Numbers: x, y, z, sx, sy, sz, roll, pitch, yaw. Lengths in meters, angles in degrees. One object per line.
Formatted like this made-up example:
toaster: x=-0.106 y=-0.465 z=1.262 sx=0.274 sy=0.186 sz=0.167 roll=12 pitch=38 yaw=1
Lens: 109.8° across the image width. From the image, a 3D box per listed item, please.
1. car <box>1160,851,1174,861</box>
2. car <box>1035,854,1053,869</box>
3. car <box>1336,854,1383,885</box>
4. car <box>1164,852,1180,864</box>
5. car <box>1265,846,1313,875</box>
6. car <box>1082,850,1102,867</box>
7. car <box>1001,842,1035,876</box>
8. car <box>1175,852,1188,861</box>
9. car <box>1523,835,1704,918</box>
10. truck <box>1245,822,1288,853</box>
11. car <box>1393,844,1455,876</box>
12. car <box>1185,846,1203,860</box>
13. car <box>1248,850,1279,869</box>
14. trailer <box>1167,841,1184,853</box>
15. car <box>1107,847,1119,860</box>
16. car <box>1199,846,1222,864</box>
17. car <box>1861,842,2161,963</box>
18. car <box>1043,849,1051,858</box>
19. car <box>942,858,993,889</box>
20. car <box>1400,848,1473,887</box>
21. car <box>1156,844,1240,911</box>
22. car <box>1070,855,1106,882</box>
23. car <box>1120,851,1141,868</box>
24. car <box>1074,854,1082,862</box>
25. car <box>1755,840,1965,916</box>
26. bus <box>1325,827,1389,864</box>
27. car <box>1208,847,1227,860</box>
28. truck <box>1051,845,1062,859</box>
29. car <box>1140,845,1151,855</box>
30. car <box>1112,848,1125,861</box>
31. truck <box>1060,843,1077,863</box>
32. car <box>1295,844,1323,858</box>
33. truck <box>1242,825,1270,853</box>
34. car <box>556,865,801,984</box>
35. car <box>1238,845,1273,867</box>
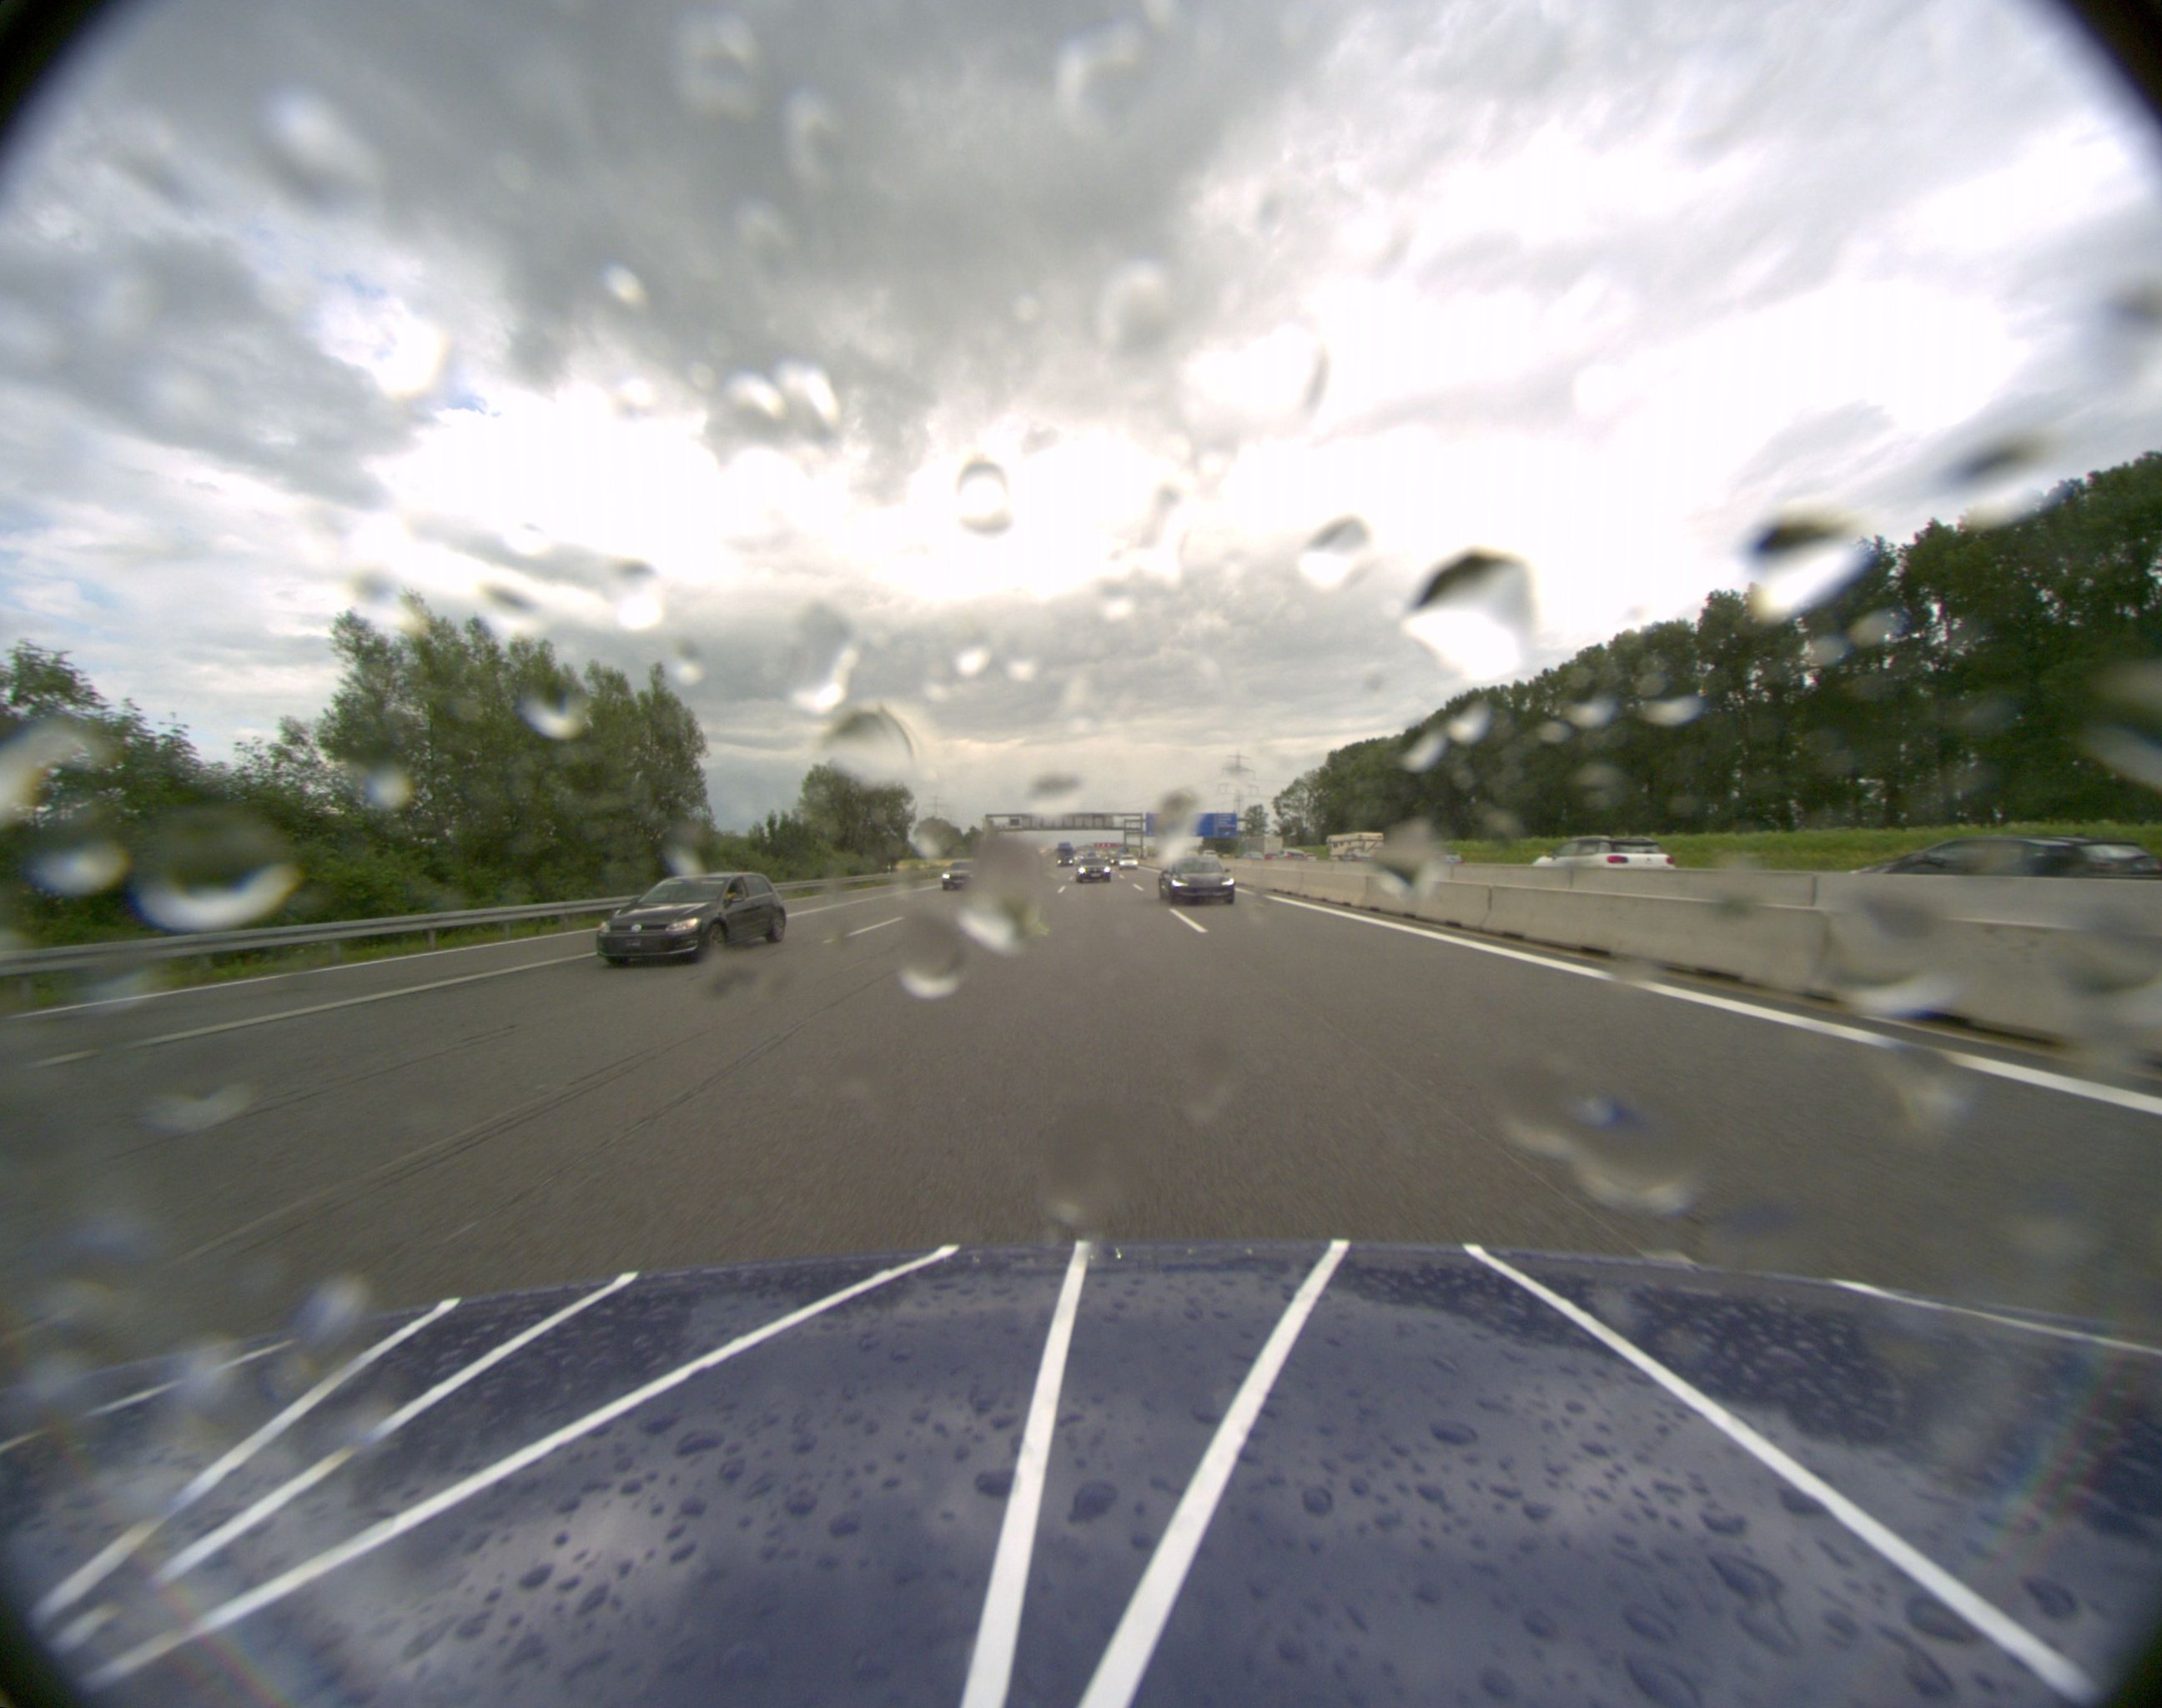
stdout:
car: x=16.791 y=0.335 z=148.363 sx=1.999 sy=1.874 sz=5.185 roll=-2 pitch=0 yaw=-1
car: x=-4.389 y=0.855 z=89.523 sx=1.999 sy=1.632 sz=4.629 roll=-1 pitch=0 yaw=-3
car: x=19.475 y=1.040 z=53.298 sx=1.809 sy=2.002 sz=3.999 roll=-2 pitch=0 yaw=0
car: x=15.347 y=0.661 z=128.429 sx=1.998 sy=1.886 sz=5.186 roll=-2 pitch=0 yaw=0
car: x=15.268 y=0.432 z=56.064 sx=1.999 sy=2.002 sz=5.181 roll=-2 pitch=0 yaw=0
car: x=1.081 y=0.429 z=72.779 sx=1.711 sy=1.562 sz=4.347 roll=-2 pitch=0 yaw=3
car: x=-4.848 y=0.365 z=59.354 sx=2.145 sy=2.486 sz=5.447 roll=-2 pitch=0 yaw=0
car: x=19.804 y=0.571 z=149.858 sx=1.998 sy=1.694 sz=5.078 roll=-1 pitch=0 yaw=1
car: x=14.414 y=0.555 z=20.919 sx=1.998 sy=2.002 sz=4.264 roll=-2 pitch=0 yaw=1
truck: x=27.644 y=-2.301 z=114.113 sx=3.156 sy=4.288 sz=13.950 roll=-2 pitch=0 yaw=0
car: x=23.008 y=0.397 z=51.177 sx=1.999 sy=2.002 sz=4.808 roll=-2 pitch=0 yaw=0
car: x=16.332 y=-0.146 z=110.059 sx=1.998 sy=1.842 sz=5.078 roll=-1 pitch=0 yaw=1
car: x=18.752 y=0.557 z=78.313 sx=1.998 sy=1.818 sz=4.638 roll=-2 pitch=0 yaw=0
trailer: x=28.316 y=-1.963 z=227.802 sx=3.118 sy=3.487 sz=14.450 roll=-2 pitch=0 yaw=-1
car: x=6.181 y=-0.131 z=148.158 sx=2.144 sy=2.486 sz=5.449 roll=-2 pitch=0 yaw=3
car: x=15.393 y=0.105 z=90.589 sx=1.998 sy=2.002 sz=4.763 roll=-2 pitch=0 yaw=1
car: x=18.463 y=0.808 z=14.926 sx=1.998 sy=2.002 sz=4.227 roll=-2 pitch=0 yaw=1
car: x=-8.578 y=-0.116 z=190.878 sx=1.836 sy=2.002 sz=3.862 roll=-2 pitch=0 yaw=-1
car: x=-5.925 y=0.975 z=40.080 sx=1.944 sy=1.482 sz=4.775 roll=-2 pitch=0 yaw=0
car: x=19.595 y=0.692 z=42.070 sx=1.854 sy=2.002 sz=4.536 roll=-2 pitch=0 yaw=0
car: x=3.510 y=0.650 z=23.685 sx=1.998 sy=1.810 sz=5.163 roll=-2 pitch=0 yaw=2
car: x=0.453 y=0.789 z=43.708 sx=1.922 sy=1.407 sz=4.000 roll=-1 pitch=0 yaw=2
car: x=4.960 y=0.513 z=76.848 sx=1.822 sy=1.565 sz=4.000 roll=-2 pitch=0 yaw=0
car: x=-0.687 y=0.897 z=187.090 sx=1.998 sy=1.810 sz=5.162 roll=-2 pitch=0 yaw=1
car: x=23.051 y=0.636 z=22.768 sx=1.998 sy=2.002 sz=4.227 roll=-2 pitch=0 yaw=1
bus: x=27.020 y=-0.842 z=74.978 sx=2.838 sy=3.313 sz=9.963 roll=-2 pitch=0 yaw=2
car: x=20.081 y=-0.103 z=112.055 sx=1.998 sy=1.922 sz=4.638 roll=-2 pitch=0 yaw=0
truck: x=-4.963 y=-0.337 z=153.962 sx=1.790 sy=2.660 sz=5.768 roll=-2 pitch=0 yaw=1
car: x=16.232 y=-1.008 z=191.539 sx=1.999 sy=2.601 sz=6.342 roll=-2 pitch=0 yaw=-1
car: x=5.090 y=0.053 z=103.409 sx=1.711 sy=1.621 sz=4.001 roll=-2 pitch=0 yaw=3
truck: x=-1.806 y=-0.171 z=112.131 sx=2.391 sy=2.726 sz=6.592 roll=-2 pitch=0 yaw=-1
car: x=28.196 y=-0.378 z=94.075 sx=1.999 sy=1.608 sz=4.400 roll=-2 pitch=0 yaw=-1
truck: x=27.728 y=-2.290 z=120.851 sx=3.126 sy=4.257 sz=5.911 roll=-1 pitch=0 yaw=1
car: x=-6.735 y=1.074 z=13.386 sx=1.711 sy=1.621 sz=4.457 roll=-2 pitch=0 yaw=3
car: x=15.911 y=0.163 z=69.402 sx=1.999 sy=1.844 sz=4.635 roll=-2 pitch=0 yaw=-1
